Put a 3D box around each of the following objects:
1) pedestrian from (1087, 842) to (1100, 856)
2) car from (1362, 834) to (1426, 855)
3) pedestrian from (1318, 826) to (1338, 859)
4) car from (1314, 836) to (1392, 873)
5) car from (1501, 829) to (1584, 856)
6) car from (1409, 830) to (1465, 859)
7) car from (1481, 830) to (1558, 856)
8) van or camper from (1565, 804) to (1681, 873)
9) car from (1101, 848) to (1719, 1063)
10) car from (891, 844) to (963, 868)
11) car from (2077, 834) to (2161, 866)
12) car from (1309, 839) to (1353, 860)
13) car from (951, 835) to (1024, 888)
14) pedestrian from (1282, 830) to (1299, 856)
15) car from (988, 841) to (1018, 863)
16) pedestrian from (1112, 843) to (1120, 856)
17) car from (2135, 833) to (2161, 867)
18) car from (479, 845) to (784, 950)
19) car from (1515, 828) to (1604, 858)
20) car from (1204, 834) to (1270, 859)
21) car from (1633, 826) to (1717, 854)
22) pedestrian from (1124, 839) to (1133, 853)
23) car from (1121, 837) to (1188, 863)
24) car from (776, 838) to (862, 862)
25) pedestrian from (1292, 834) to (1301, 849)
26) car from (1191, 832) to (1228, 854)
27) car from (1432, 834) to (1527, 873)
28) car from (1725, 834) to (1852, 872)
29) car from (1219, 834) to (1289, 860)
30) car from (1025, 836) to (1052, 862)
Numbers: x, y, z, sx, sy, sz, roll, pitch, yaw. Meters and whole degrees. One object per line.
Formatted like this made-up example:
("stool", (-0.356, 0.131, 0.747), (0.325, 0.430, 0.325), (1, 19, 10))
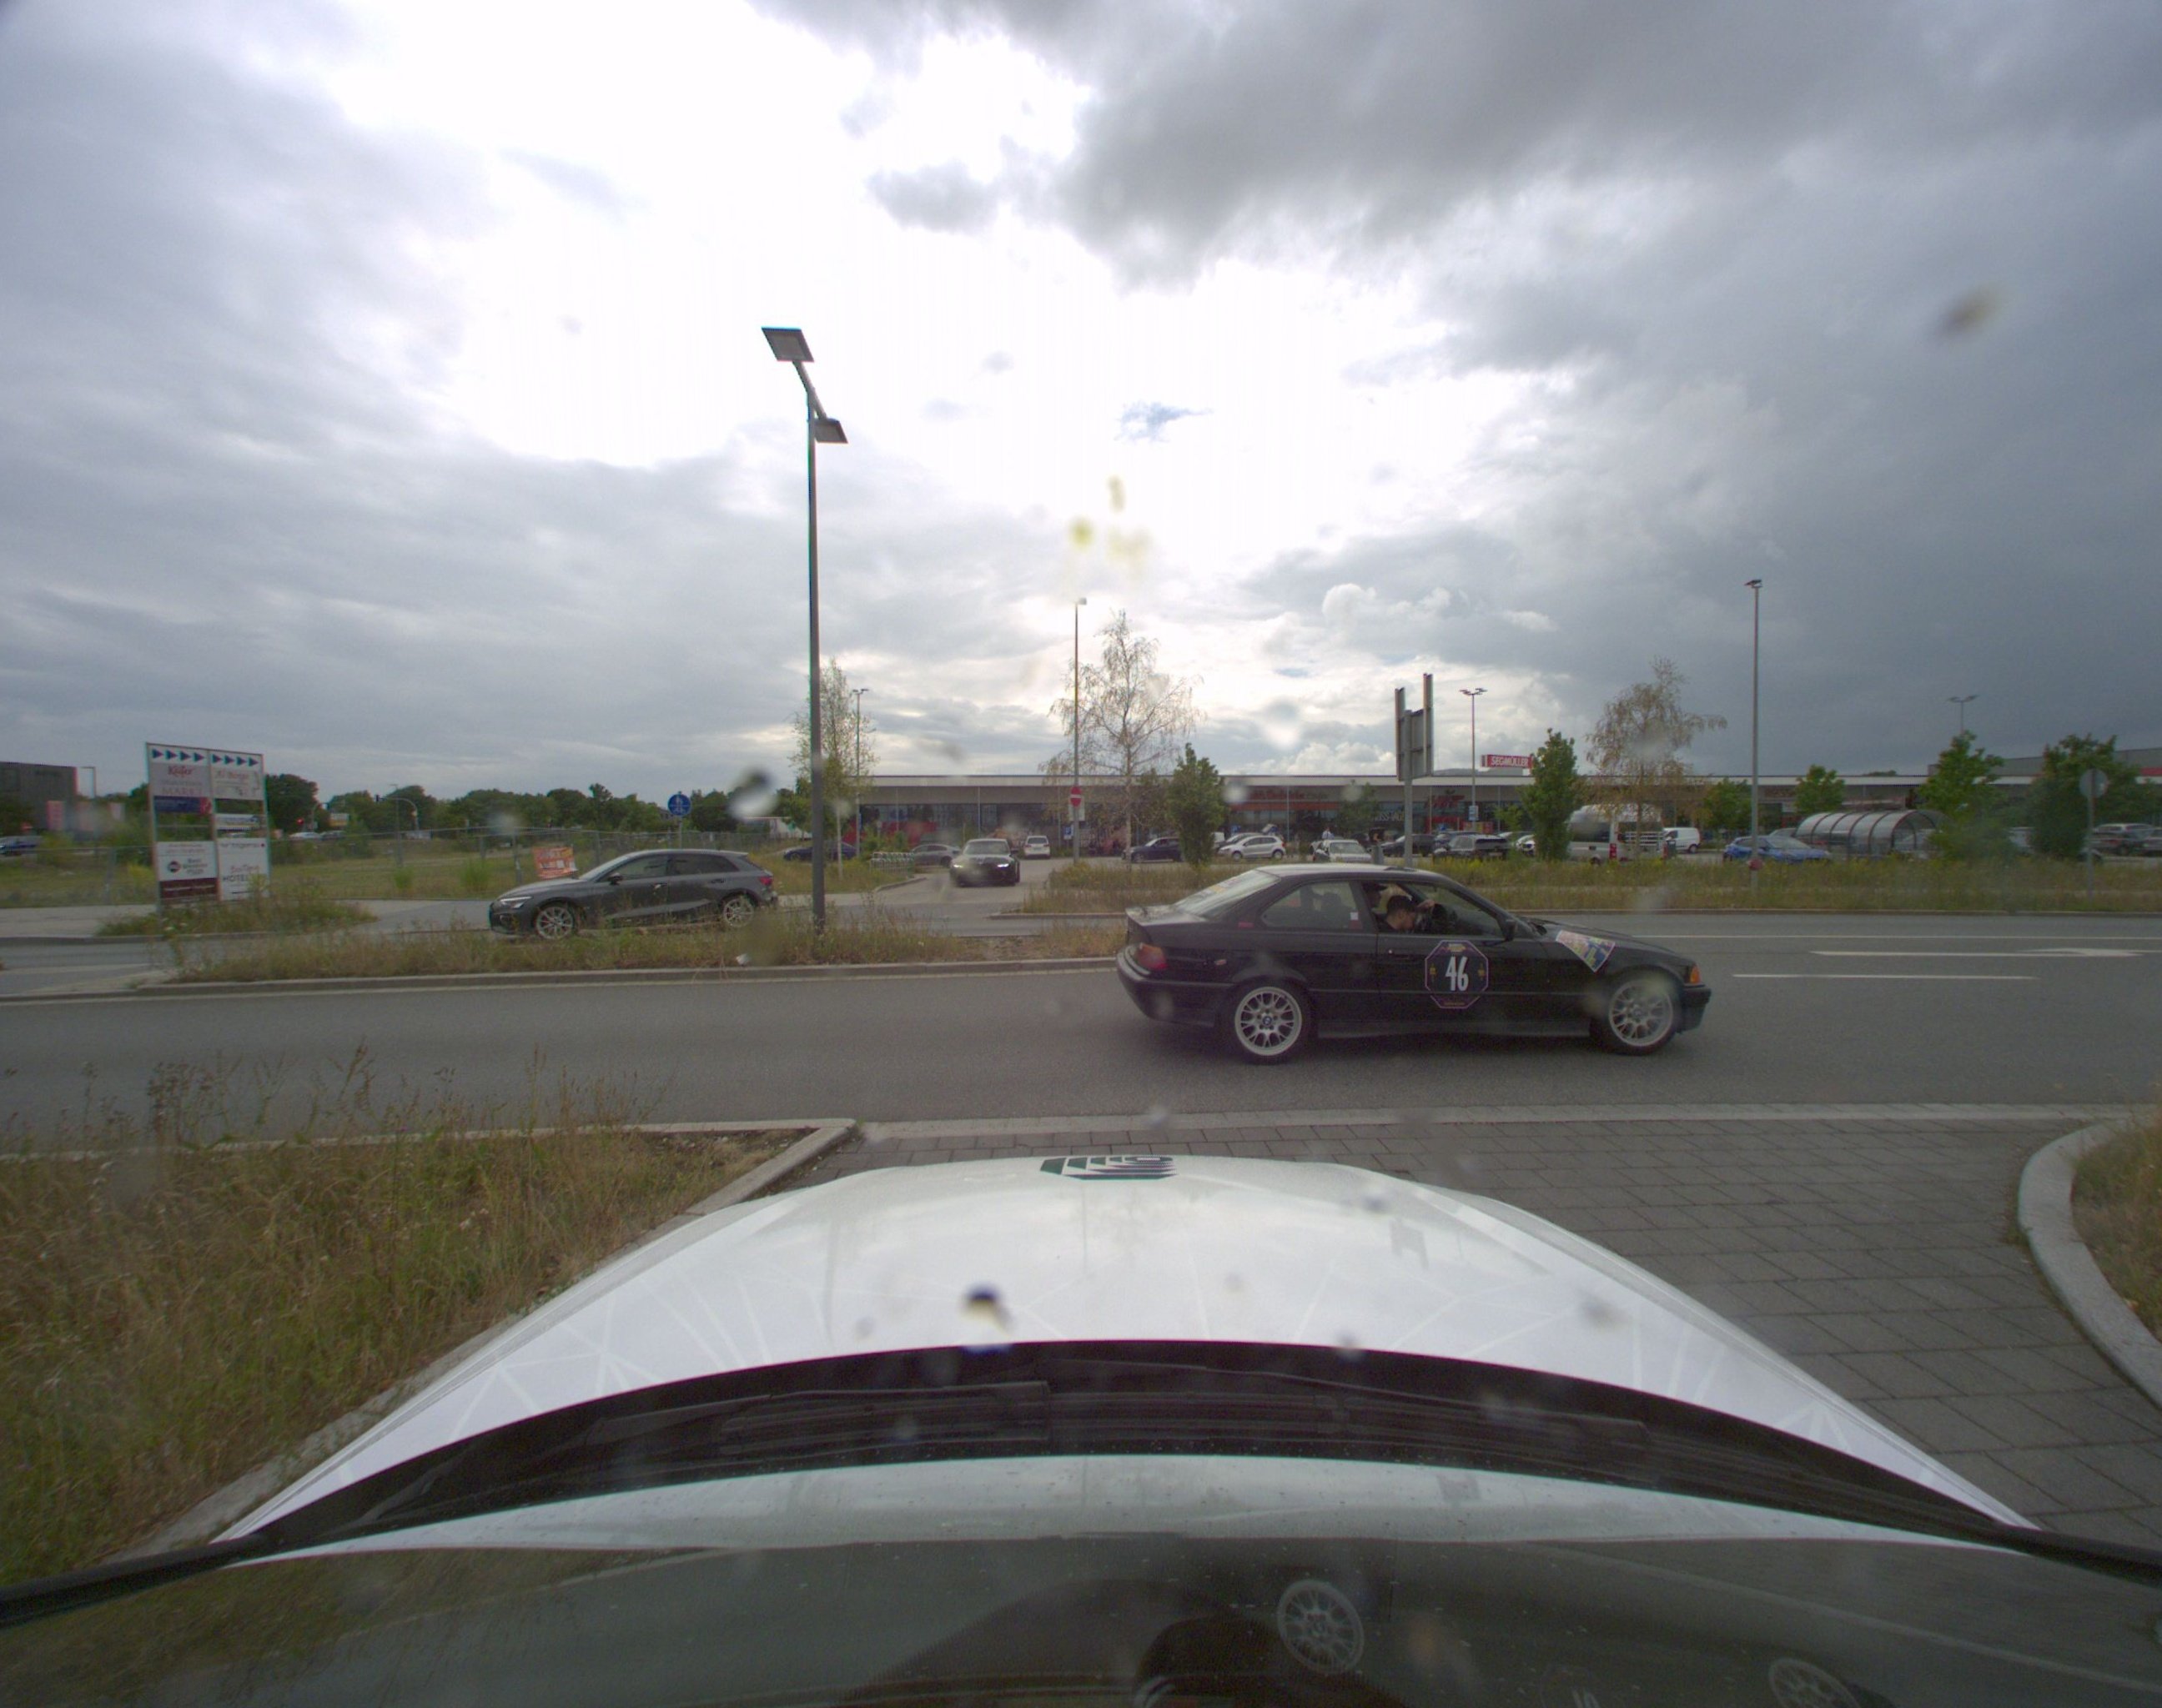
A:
("pedestrian", (1.058, -0.442, 69.184), (0.969, 1.154, 1.131), (-1, 1, -6))
("car", (23.006, -0.697, 60.009), (3.979, 1.508, 1.998), (-1, 1, -4))
("pedestrian", (14.920, -0.705, 49.207), (0.862, 2.013, 1.004), (0, 1, 0))
("car", (10.843, -0.006, 32.791), (1.980, 1.384, 4.154), (0, 1, 3))
("car", (28.194, -0.709, 49.885), (3.969, 1.617, 2.002), (-1, 1, 3))
("car", (20.844, -0.589, 47.846), (1.806, 1.653, 4.005), (-1, 1, 4))
("car", (28.278, -0.728, 52.625), (3.969, 1.617, 2.002), (-1, 1, 3))
("van or camper", (20.662, -0.584, 31.271), (2.270, 2.492, 4.010), (0, 1, 9))
("car", (2.345, 0.684, 6.533), (4.276, 1.386, 1.758), (-1, 1, -3))
("car", (-8.987, 0.107, 47.844), (3.984, 1.352, 1.995), (0, 1, -8))
("car", (57.979, -0.261, 45.320), (3.829, 1.653, 1.755), (-1, 2, -14))
("car", (18.922, -0.389, 61.791), (1.989, 1.508, 3.997), (-1, 1, -3))
("car", (-2.770, 0.171, 25.132), (1.774, 1.445, 4.608), (-1, 1, -1))
("pedestrian", (13.020, -0.672, 50.702), (0.819, 1.631, 0.899), (0, 1, 0))
("car", (-5.609, -0.164, 59.121), (1.902, 1.443, 3.997), (-1, 1, -2))
("pedestrian", (2.977, -0.381, 68.728), (0.576, 1.124, 0.560), (-1, 1, -8))
("car", (58.229, -0.220, 42.793), (3.991, 1.733, 1.991), (-1, 2, -13))
("car", (-7.557, 0.609, 13.922), (4.339, 1.466, 1.778), (-1, 2, -36))
("car", (27.485, -0.638, 46.898), (3.969, 1.617, 2.002), (-1, 1, 3))
("car", (9.684, -0.484, 50.634), (3.740, 1.454, 1.665), (-1, 1, -5))
("car", (39.569, -0.932, 54.286), (4.410, 1.818, 1.995), (0, 1, -8))
("pedestrian", (3.968, -0.693, 67.988), (0.576, 1.124, 0.560), (-1, 1, -8))
("car", (4.193, -0.251, 46.911), (3.602, 1.454, 1.665), (-1, 1, -6))
("car", (-16.935, -0.270, 52.812), (5.007, 1.557, 1.994), (0, 1, -9))
("pedestrian", (18.219, -1.049, 68.905), (0.559, 1.201, 0.527), (-1, 1, -5))
("car", (9.632, -0.840, 61.087), (1.989, 1.508, 3.997), (-1, 1, -3))
("car", (15.798, -0.046, 32.555), (1.980, 1.451, 4.154), (0, 1, 3))
("car", (27.390, -0.078, 31.745), (1.794, 1.384, 4.160), (0, 1, 8))
("car", (10.117, -0.406, 47.717), (3.740, 1.454, 1.665), (-1, 1, -5))
("car", (-3.067, -0.411, 59.412), (1.819, 1.699, 4.231), (-1, 2, -2))
